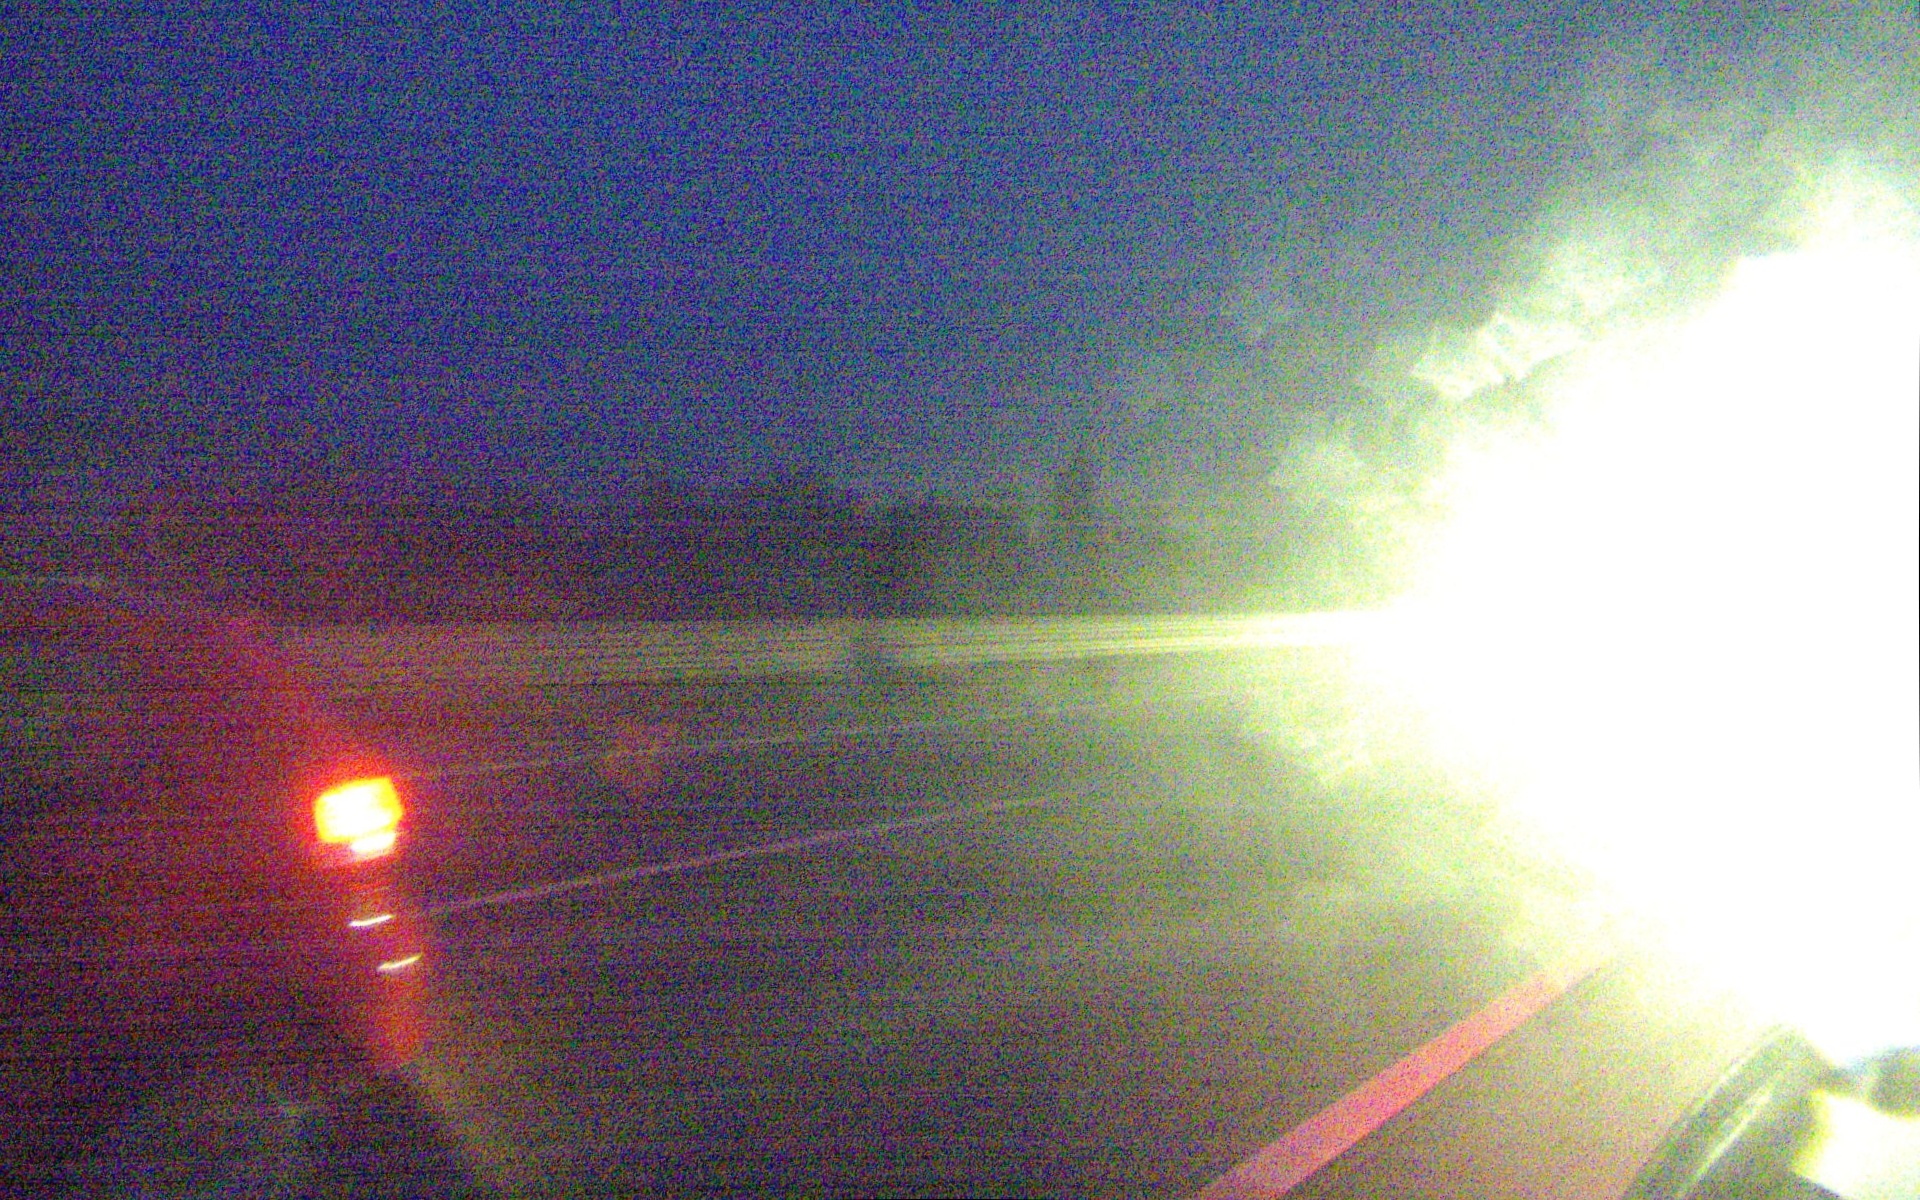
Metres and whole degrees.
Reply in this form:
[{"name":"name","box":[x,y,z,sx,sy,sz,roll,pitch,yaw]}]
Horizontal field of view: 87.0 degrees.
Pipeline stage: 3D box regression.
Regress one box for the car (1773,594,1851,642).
[{"name":"car","box":[29.219,0.599,34.666,3.946,1.522,1.641,0,1,-44]}]

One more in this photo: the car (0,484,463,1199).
[{"name":"car","box":[-3.376,0.583,1.550,4.416,1.595,1.743,-1,1,-41]}]
